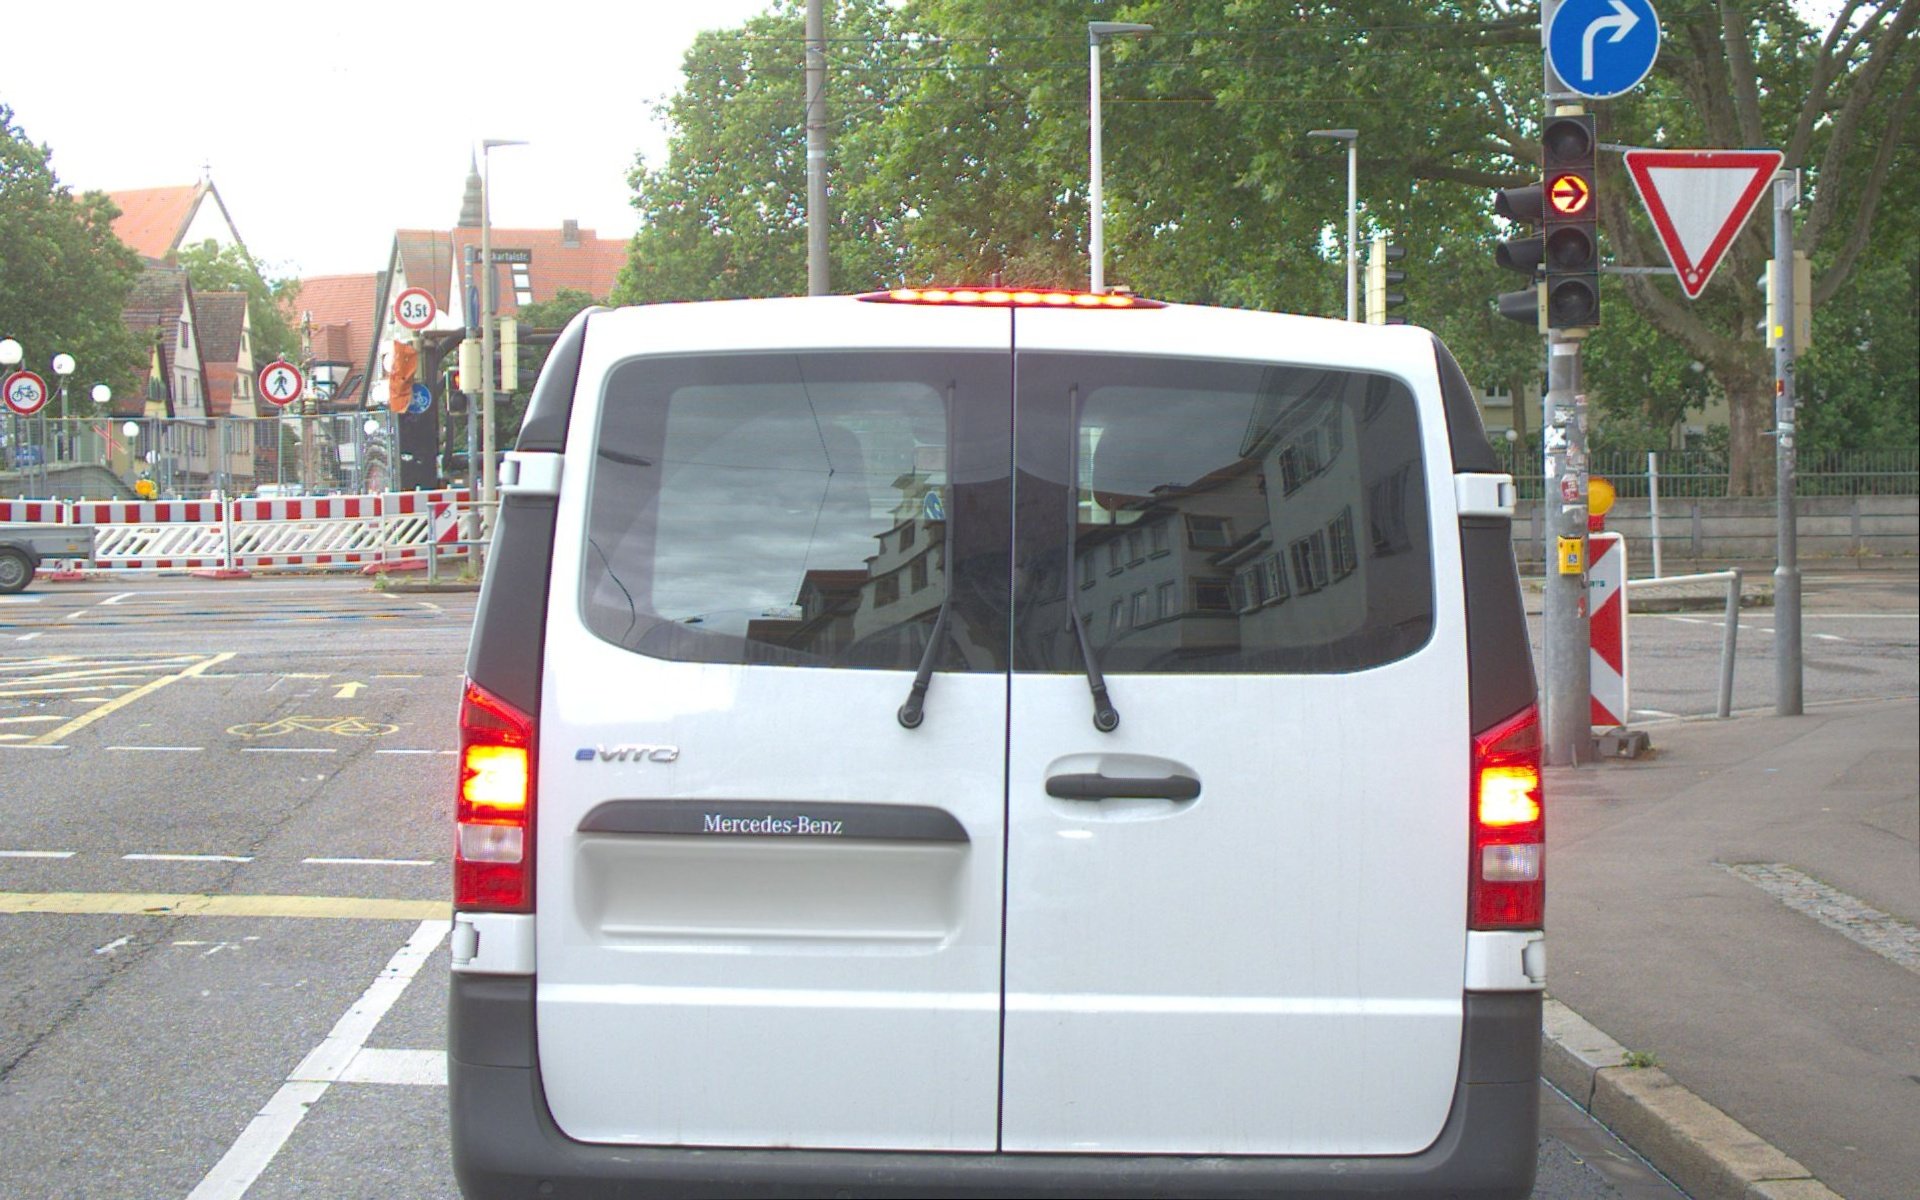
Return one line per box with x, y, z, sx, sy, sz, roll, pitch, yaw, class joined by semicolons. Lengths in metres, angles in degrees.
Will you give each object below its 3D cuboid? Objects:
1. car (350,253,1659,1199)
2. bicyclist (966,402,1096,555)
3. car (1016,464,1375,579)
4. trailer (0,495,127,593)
0.003;0.336;7.407;1.993;1.916;4.250;1;3;-2;car
1.001;-1.722;48.945;1.563;2.148;1.248;-1;1;-14;bicyclist
3.019;-1.025;44.484;4.274;1.447;1.900;0;1;-11;car
-11.725;-0.677;41.372;3.199;1.154;2.001;-1;1;-16;trailer
